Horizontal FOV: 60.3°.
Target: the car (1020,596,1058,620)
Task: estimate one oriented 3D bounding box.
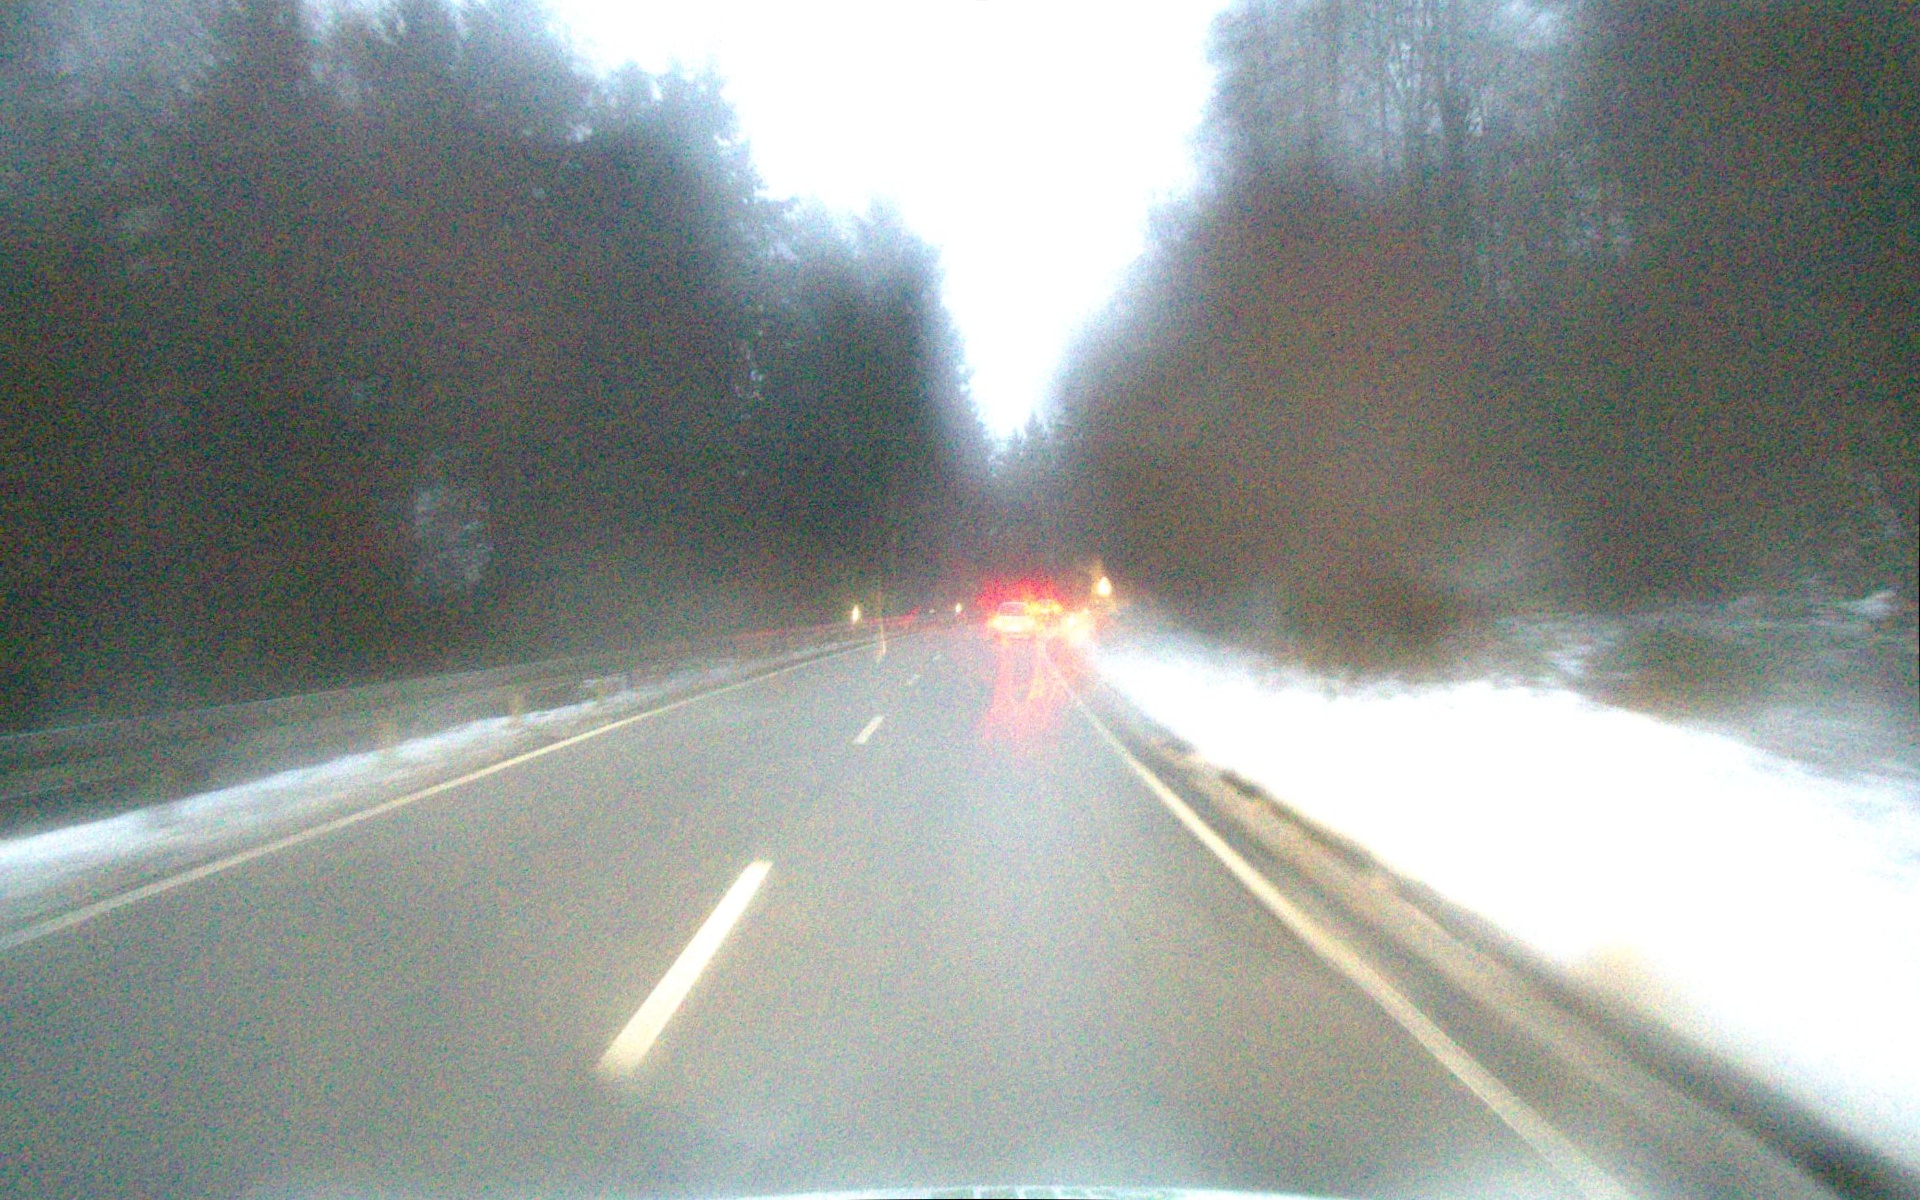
[{"bbox_3d":[4.819,0.468,101.217,1.953,1.333,3.998,-3,0,-2],"label":"car"}]

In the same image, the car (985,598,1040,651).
[{"bbox_3d":[2.069,0.918,64.532,1.952,1.905,4.002,-3,0,3],"label":"car"}]
